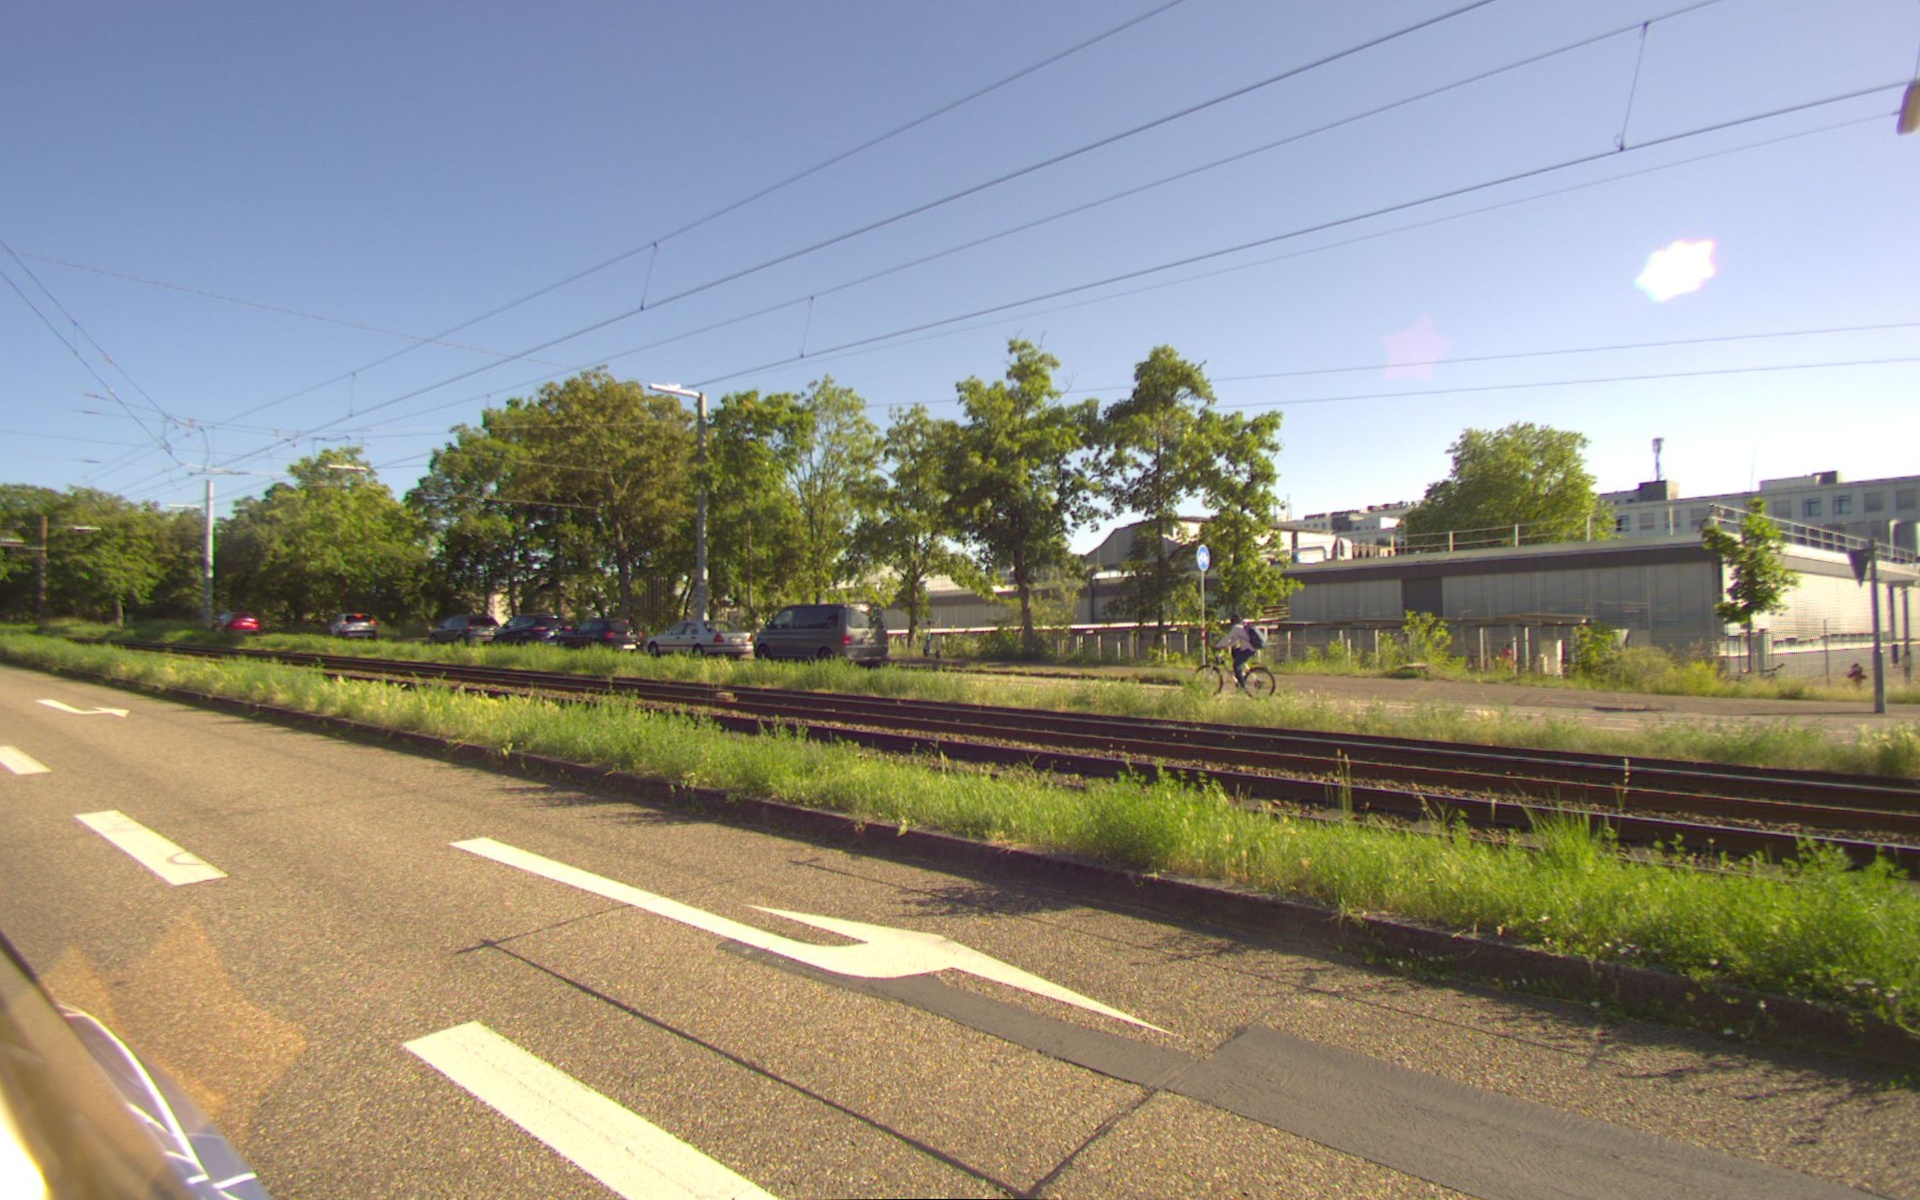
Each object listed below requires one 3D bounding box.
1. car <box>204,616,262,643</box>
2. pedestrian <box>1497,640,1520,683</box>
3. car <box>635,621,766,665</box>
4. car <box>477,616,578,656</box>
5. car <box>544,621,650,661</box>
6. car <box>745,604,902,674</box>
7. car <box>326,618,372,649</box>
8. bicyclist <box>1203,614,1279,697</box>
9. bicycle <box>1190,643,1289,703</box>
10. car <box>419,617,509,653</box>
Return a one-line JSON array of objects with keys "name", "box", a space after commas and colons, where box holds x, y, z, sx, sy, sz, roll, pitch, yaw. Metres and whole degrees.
[{"name": "car", "box": [-49.363, 2.000, 68.676, 4.797, 1.747, 2.290, -2, -2, 43]}, {"name": "pedestrian", "box": [16.765, 1.869, 30.947, 0.435, 1.310, 0.441, -1, -2, -1]}, {"name": "car", "box": [-9.044, 1.467, 35.060, 4.611, 1.391, 2.104, -2, -1, 39]}, {"name": "car", "box": [-18.243, 1.492, 42.586, 4.614, 1.599, 2.103, -2, -1, 41]}, {"name": "car", "box": [-14.036, 1.550, 39.049, 4.486, 1.437, 1.935, -2, -1, 41]}, {"name": "car", "box": [-4.178, 1.144, 30.513, 4.684, 1.949, 2.178, -2, -2, 42]}, {"name": "car", "box": [-33.388, 1.804, 55.274, 1.830, 1.569, 4.166, 0, -1, -36]}, {"name": "bicyclist", "box": [5.604, 1.083, 20.206, 1.236, 1.605, 0.794, -2, -1, 42]}, {"name": "bicycle", "box": [5.571, 1.427, 20.236, 1.780, 1.110, 0.689, -2, -1, 42]}, {"name": "car", "box": [-23.089, 1.595, 47.045, 4.557, 1.575, 2.103, -2, -1, 40]}]
